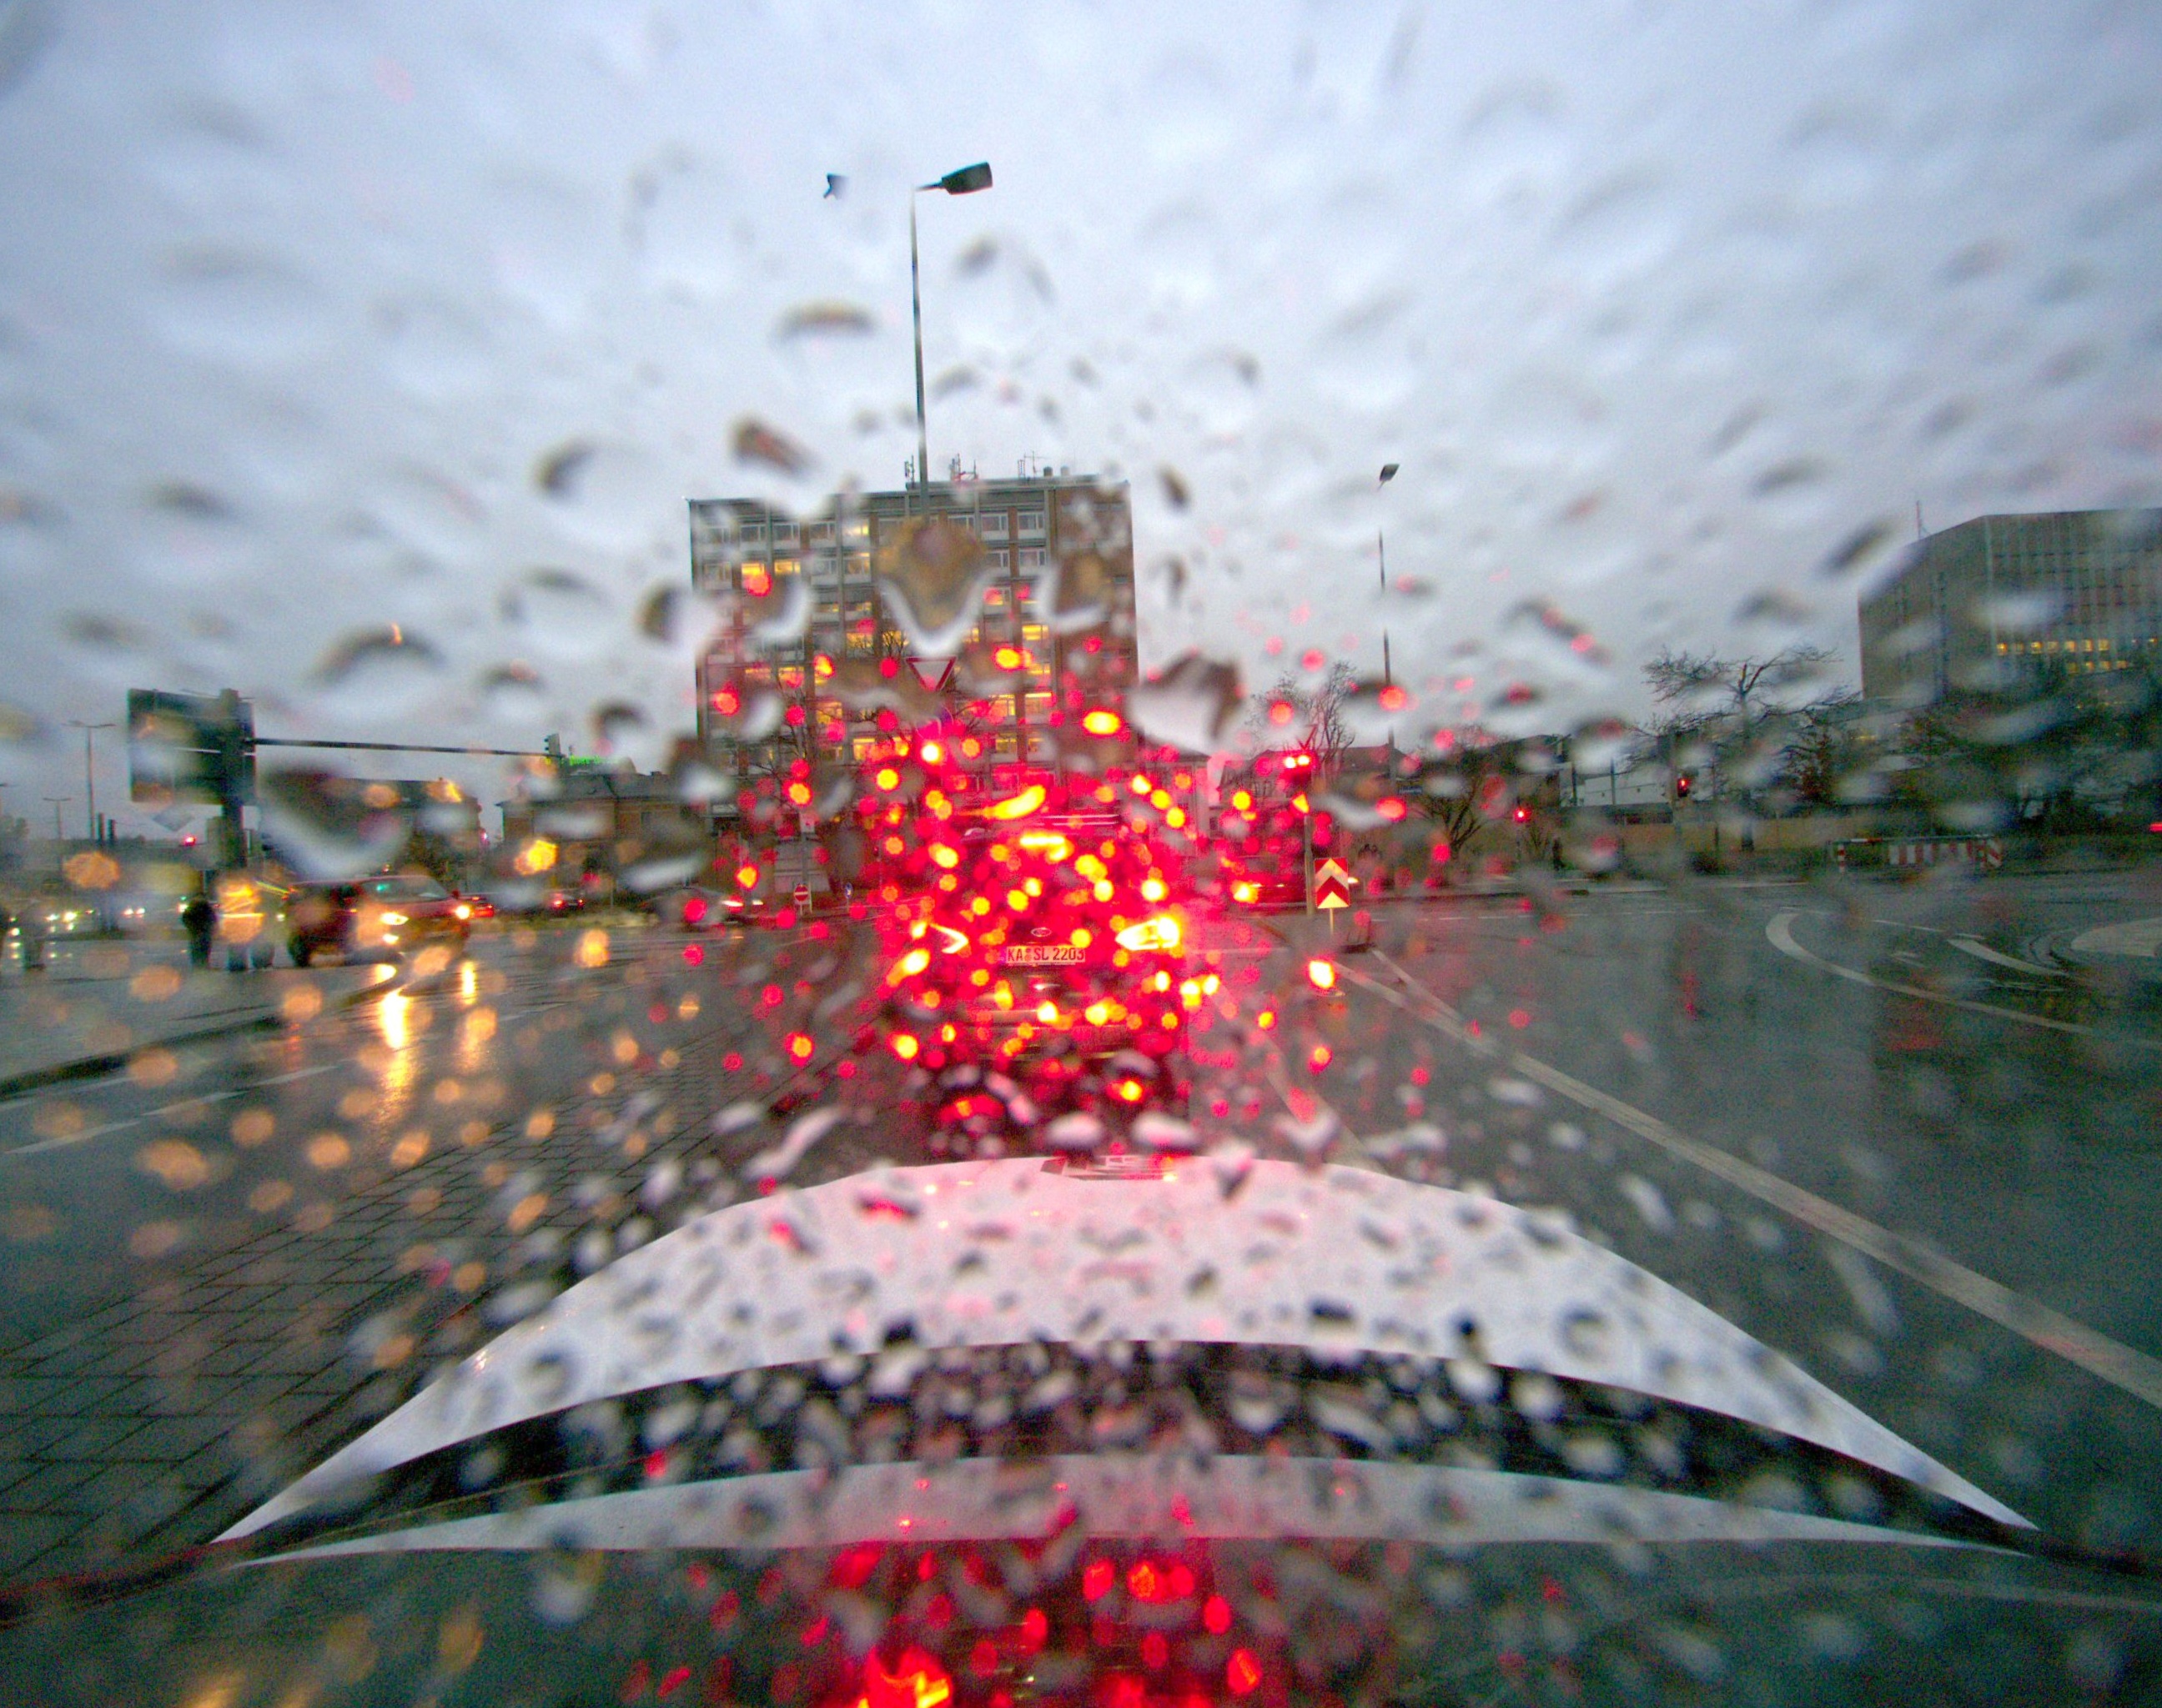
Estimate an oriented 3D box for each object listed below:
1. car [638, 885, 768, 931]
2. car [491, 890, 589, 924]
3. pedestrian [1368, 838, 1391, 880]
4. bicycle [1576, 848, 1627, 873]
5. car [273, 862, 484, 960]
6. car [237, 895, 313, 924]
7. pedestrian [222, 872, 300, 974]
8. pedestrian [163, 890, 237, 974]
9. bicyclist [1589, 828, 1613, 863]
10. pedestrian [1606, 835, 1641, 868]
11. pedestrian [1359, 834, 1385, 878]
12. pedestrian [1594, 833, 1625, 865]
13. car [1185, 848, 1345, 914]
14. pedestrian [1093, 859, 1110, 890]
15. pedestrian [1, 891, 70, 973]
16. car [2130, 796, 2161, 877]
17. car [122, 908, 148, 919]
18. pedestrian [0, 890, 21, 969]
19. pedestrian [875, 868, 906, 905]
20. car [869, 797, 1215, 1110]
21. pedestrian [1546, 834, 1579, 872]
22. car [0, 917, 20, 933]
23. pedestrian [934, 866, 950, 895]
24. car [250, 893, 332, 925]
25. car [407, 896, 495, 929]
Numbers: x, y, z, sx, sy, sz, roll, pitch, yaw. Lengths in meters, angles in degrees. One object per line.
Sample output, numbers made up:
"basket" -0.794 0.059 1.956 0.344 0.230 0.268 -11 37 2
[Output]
"car" -12.554 1.800 27.069 3.723 1.302 1.709 -3 -1 19
"car" -26.825 2.593 40.421 3.959 1.568 1.833 -1 -1 13
"pedestrian" 15.248 0.255 41.627 0.887 2.113 0.889 -3 0 13
"bicycle" 24.330 0.290 38.070 1.873 1.048 0.661 -3 0 6
"car" -17.090 1.395 19.804 4.588 2.070 1.941 -4 0 23
"car" -53.091 3.617 53.674 1.505 1.702 3.411 -1 -1 39
"pedestrian" -17.323 1.423 17.231 0.996 2.021 0.792 -3 0 -39
"pedestrian" -19.543 1.708 18.081 0.653 1.755 0.856 -3 0 18
"bicyclist" 24.300 -0.391 38.066 0.681 1.599 0.661 -3 0 6
"pedestrian" 26.071 -0.124 39.136 0.921 1.533 1.043 -3 0 2
"pedestrian" 14.546 0.082 40.728 0.890 2.113 0.886 -3 0 2
"pedestrian" 26.129 -0.263 40.294 0.889 1.533 0.886 -3 0 2
"car" 5.105 0.757 22.749 4.096 1.582 1.847 -3 -1 12
"pedestrian" 1.143 1.140 45.249 0.754 1.628 0.559 -3 0 14
"pedestrian" -24.656 1.829 19.217 0.669 1.838 0.738 -3 0 16
"car" 24.760 -0.488 16.437 4.285 1.689 1.845 -3 -1 7
"car" -144.639 9.085 124.561 1.747 1.509 3.954 -3 0 -38
"pedestrian" -24.852 1.738 18.482 0.542 1.770 0.746 -3 0 15
"pedestrian" -10.096 1.719 43.199 0.992 1.842 1.146 -3 2 25
"car" -0.164 0.591 6.694 1.986 1.789 4.001 0 -1 2
"pedestrian" 23.869 -0.061 40.366 0.992 1.799 0.920 -3 0 2
"car" -118.535 7.827 89.779 3.948 1.509 1.797 -3 0 39
"pedestrian" -8.146 1.554 47.788 0.634 1.688 0.640 -3 0 18
"car" -51.155 3.533 52.782 1.649 1.826 3.609 -1 -1 39
"car" -33.326 3.057 43.085 3.954 1.568 1.836 -1 -1 20
